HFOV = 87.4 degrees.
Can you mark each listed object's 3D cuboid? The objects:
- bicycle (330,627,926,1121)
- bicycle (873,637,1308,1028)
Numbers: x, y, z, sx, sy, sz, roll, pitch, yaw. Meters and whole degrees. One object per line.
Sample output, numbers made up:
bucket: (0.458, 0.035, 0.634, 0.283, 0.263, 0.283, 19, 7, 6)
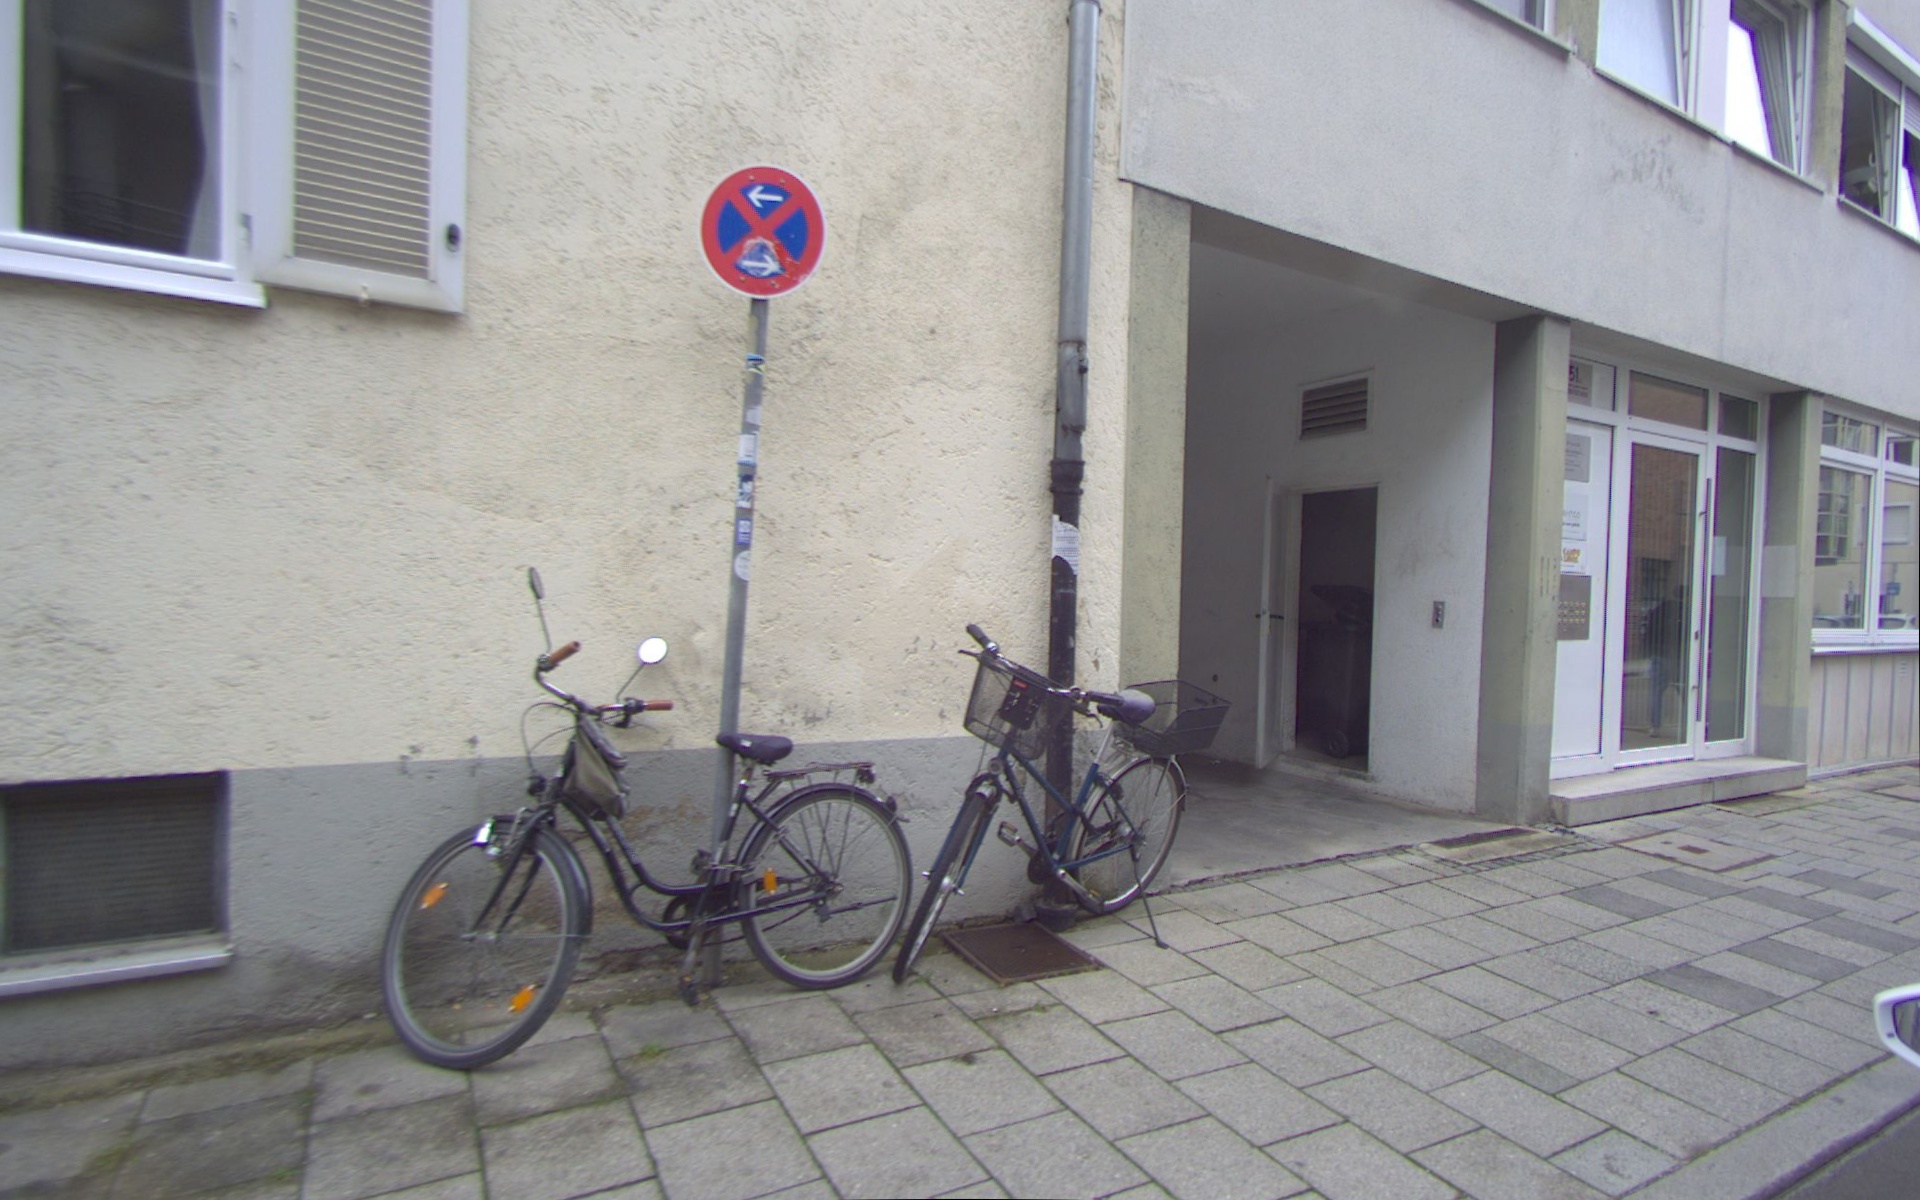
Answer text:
bicycle: (-0.936, 0.699, 3.029, 1.586, 1.175, 0.456, 2, 3, -30)
bicycle: (0.556, 0.749, 3.834, 1.704, 1.175, 0.558, 2, 1, -37)
